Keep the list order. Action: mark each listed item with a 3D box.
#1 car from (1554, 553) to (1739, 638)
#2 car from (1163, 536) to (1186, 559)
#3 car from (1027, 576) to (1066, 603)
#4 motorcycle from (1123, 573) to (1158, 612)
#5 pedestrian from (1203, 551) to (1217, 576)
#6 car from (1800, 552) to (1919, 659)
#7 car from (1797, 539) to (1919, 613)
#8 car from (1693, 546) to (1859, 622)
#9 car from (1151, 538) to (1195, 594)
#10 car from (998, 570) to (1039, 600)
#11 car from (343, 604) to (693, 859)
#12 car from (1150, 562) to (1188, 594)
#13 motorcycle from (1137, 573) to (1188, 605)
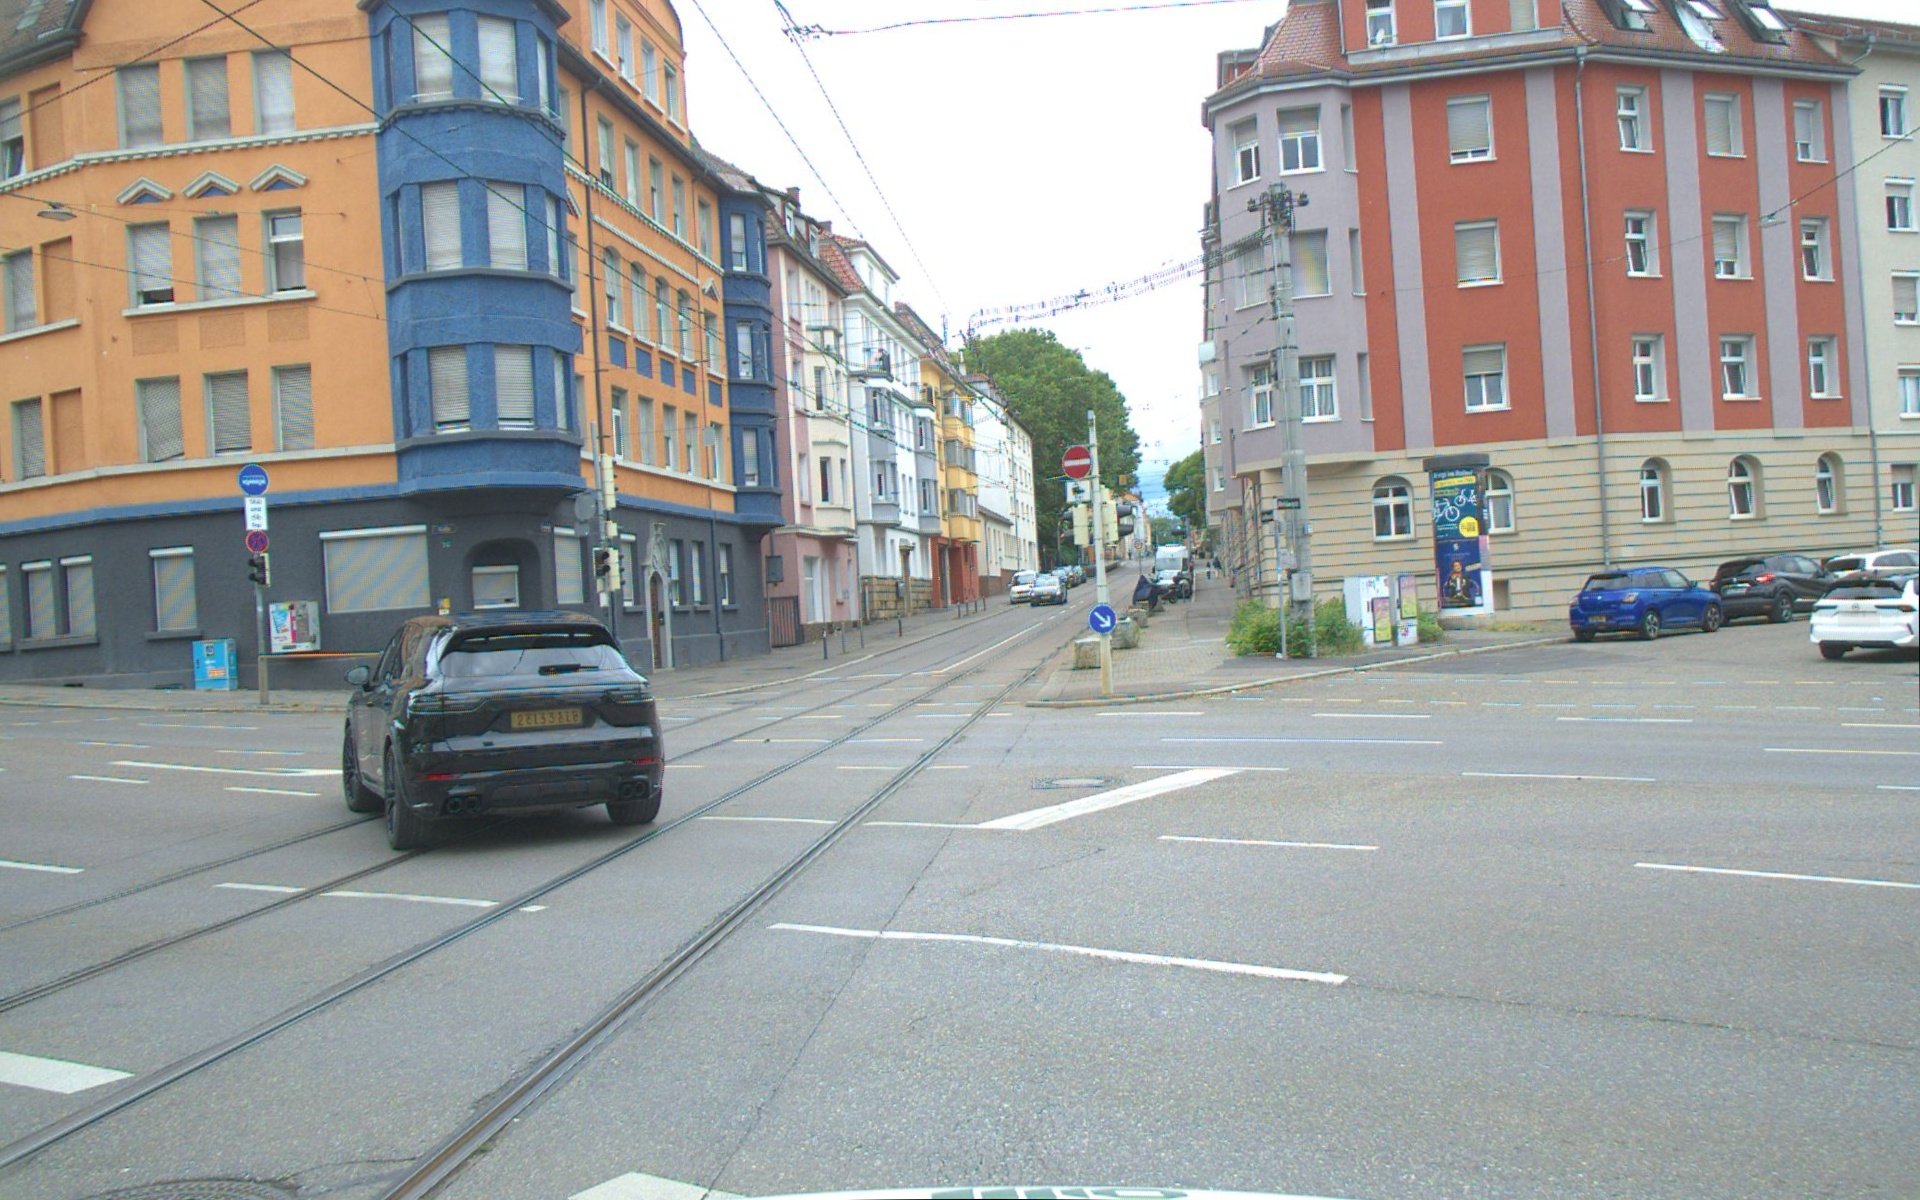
[{"bbox_3d":[14.888,-0.127,35.789,4.099,1.561,1.893,-4,2,-38],"label":"car"},{"bbox_3d":[22.442,-5.482,172.799,2.219,2.221,4.773,-2,0,9],"label":"car"},{"bbox_3d":[4.572,-0.560,86.769,1.650,1.350,3.665,-2,0,9],"label":"car"},{"bbox_3d":[6.827,-0.290,62.662,0.843,1.348,2.183,-8,0,-1],"label":"motorcycle"},{"bbox_3d":[17.212,-2.546,114.030,0.668,1.661,0.671,-3,-3,35],"label":"pedestrian"},{"bbox_3d":[16.125,0.032,28.088,4.105,1.561,1.890,-5,2,-41],"label":"car"},{"bbox_3d":[23.584,-0.638,42.231,4.079,1.661,1.902,-4,2,-27],"label":"car"},{"bbox_3d":[19.439,-0.398,39.358,4.097,1.561,1.893,-4,2,-37],"label":"car"},{"bbox_3d":[11.850,-1.861,91.643,2.219,2.941,4.773,-2,0,9],"label":"car"},{"bbox_3d":[3.536,-0.917,98.743,1.951,1.722,4.004,-2,0,9],"label":"car"},{"bbox_3d":[-3.737,0.913,13.378,1.999,1.670,4.320,0,-1,-25],"label":"car"},{"bbox_3d":[10.867,-1.139,85.908,1.801,1.596,3.822,-2,0,9],"label":"car"},{"bbox_3d":[8.972,-0.469,73.274,2.133,1.350,0.699,-2,0,-2],"label":"motorcycle"}]
